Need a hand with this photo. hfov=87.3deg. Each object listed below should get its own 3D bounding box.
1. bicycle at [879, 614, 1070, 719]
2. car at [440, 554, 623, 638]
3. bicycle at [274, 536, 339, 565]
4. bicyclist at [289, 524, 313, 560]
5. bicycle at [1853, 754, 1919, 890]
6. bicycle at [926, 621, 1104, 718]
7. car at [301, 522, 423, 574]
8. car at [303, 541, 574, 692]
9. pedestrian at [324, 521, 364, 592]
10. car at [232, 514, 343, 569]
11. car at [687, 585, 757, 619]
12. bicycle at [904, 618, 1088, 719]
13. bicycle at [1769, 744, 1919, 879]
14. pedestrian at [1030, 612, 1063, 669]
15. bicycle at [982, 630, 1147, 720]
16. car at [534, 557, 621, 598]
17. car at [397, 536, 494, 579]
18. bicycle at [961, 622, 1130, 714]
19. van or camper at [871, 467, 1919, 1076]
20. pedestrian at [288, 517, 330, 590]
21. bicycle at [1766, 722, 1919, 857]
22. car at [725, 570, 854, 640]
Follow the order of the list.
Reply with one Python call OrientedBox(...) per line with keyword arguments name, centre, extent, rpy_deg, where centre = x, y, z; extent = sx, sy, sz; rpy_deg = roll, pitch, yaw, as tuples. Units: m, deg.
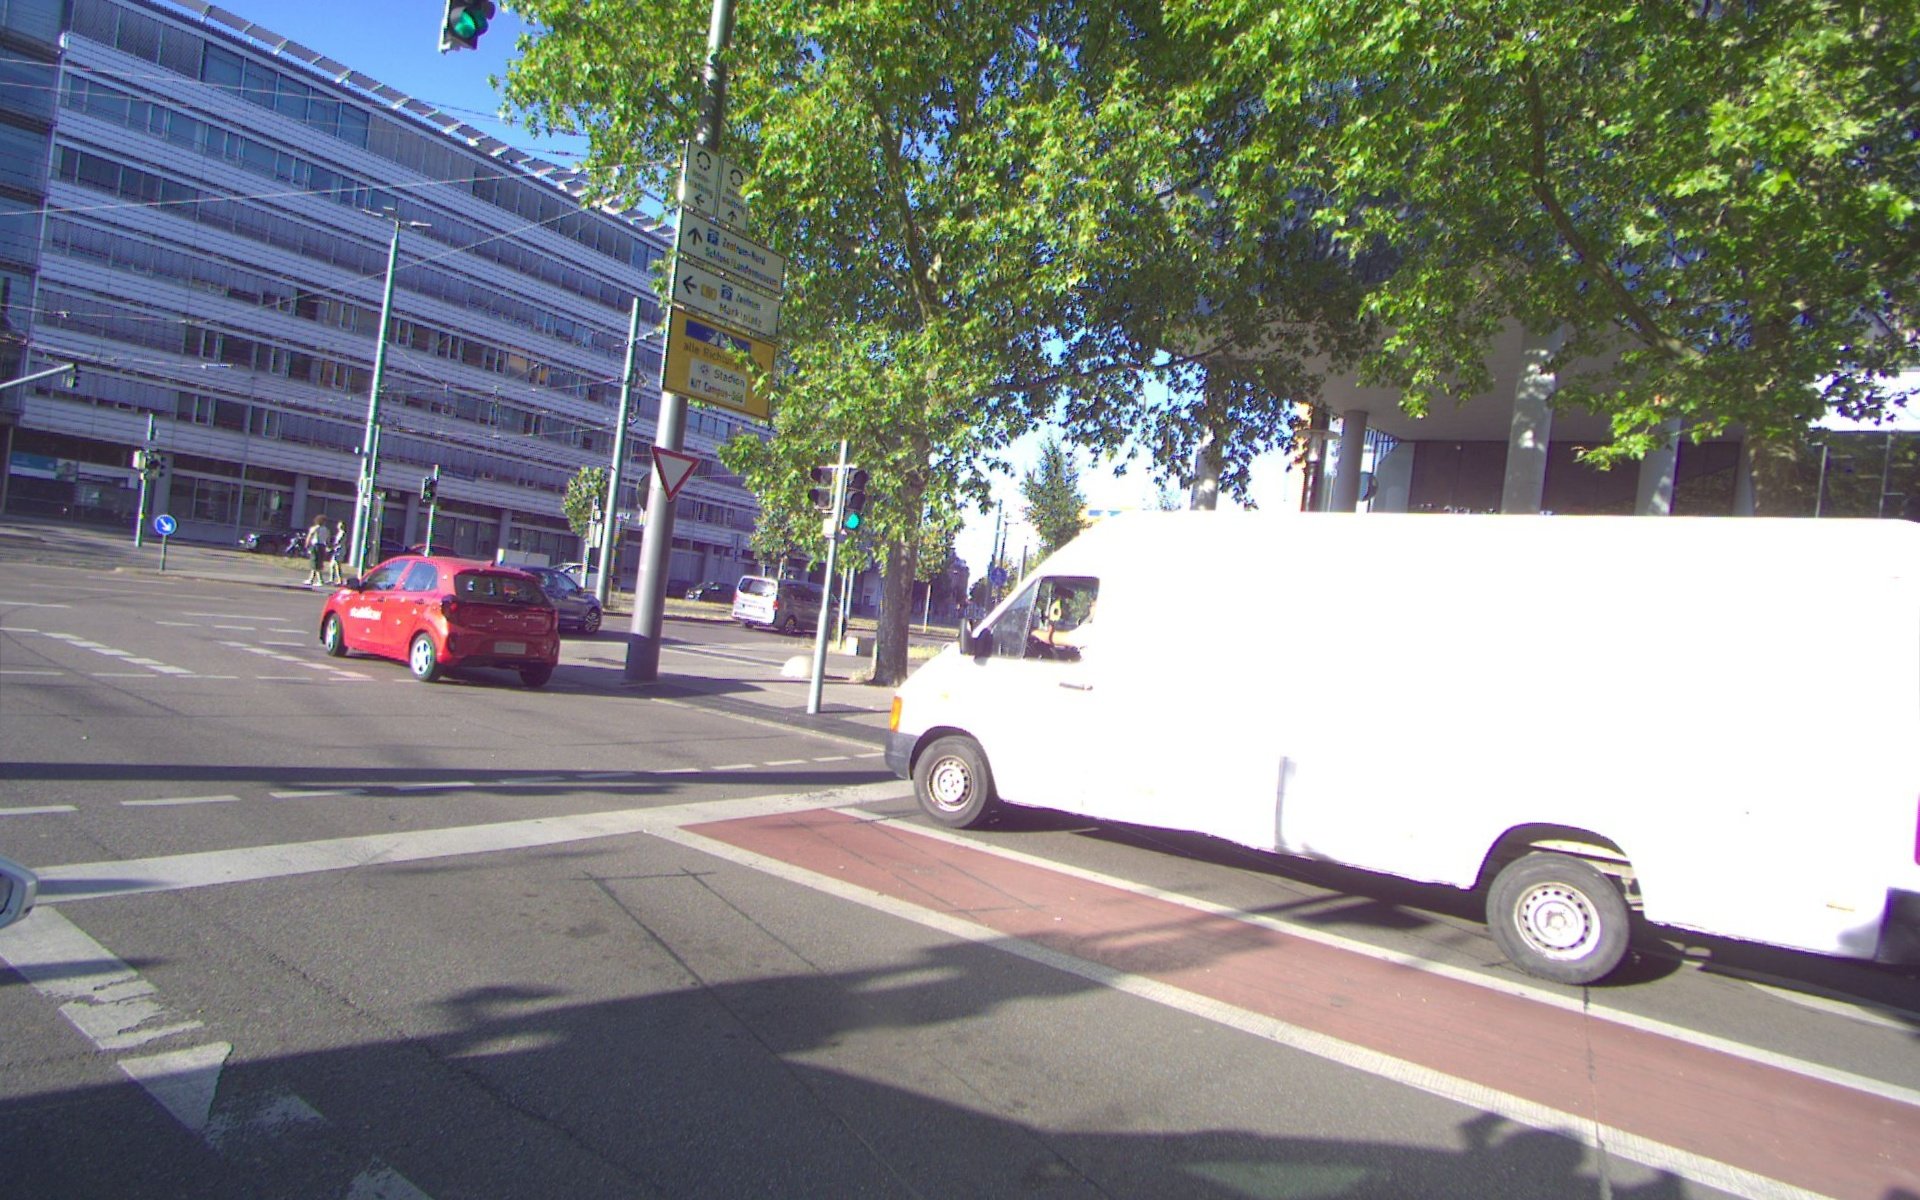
OrientedBox(name="bicycle", centre=(0.182, 1.017, 15.700), extent=(2.896, 1.252, 0.705), rpy_deg=(6, -1, 31))
OrientedBox(name="car", centre=(-9.504, 0.002, 22.714), extent=(1.720, 1.476, 4.216), rpy_deg=(7, -1, 8))
OrientedBox(name="bicycle", centre=(-30.131, -2.283, 46.412), extent=(0.627, 1.035, 2.410), rpy_deg=(7, 0, 36))
OrientedBox(name="bicyclist", centre=(-30.249, -2.661, 46.175), extent=(0.604, 1.521, 0.663), rpy_deg=(7, 1, 37))
OrientedBox(name="bicycle", centre=(10.163, 2.269, 9.440), extent=(2.514, 1.234, 0.756), rpy_deg=(5, -2, 37))
OrientedBox(name="bicycle", centre=(0.883, 1.155, 16.979), extent=(2.897, 1.252, 0.705), rpy_deg=(6, -1, 32))
OrientedBox(name="car", centre=(-27.170, -2.350, 45.828), extent=(1.854, 1.744, 4.256), rpy_deg=(7, 0, 34))
OrientedBox(name="car", centre=(-6.822, 0.184, 13.060), extent=(3.539, 1.476, 1.492), rpy_deg=(7, -1, 34))
OrientedBox(name="pedestrian", centre=(-16.452, -1.155, 26.888), extent=(0.734, 1.781, 0.680), rpy_deg=(6, 1, -31))
OrientedBox(name="car", centre=(-33.516, -2.895, 50.214), extent=(1.967, 2.037, 3.995), rpy_deg=(6, -2, 32))
OrientedBox(name="car", centre=(-15.519, 0.140, 65.649), extent=(1.852, 1.614, 4.121), rpy_deg=(6, -2, 35))
OrientedBox(name="bicycle", centre=(0.550, 1.085, 16.331), extent=(2.896, 1.243, 0.686), rpy_deg=(6, -1, 31))
OrientedBox(name="bicycle", centre=(10.873, 2.397, 10.433), extent=(3.759, 1.234, 0.756), rpy_deg=(5, -2, 38))
OrientedBox(name="pedestrian", centre=(2.588, 1.198, 30.018), extent=(0.569, 1.612, 0.595), rpy_deg=(7, 0, 32))
OrientedBox(name="bicycle", centre=(1.902, 1.374, 18.698), extent=(2.896, 1.250, 0.698), rpy_deg=(6, -4, 31))
OrientedBox(name="car", centre=(-20.877, -1.197, 55.027), extent=(1.852, 1.614, 3.991), rpy_deg=(6, -2, 35))
OrientedBox(name="car", centre=(-26.463, -2.181, 51.869), extent=(1.769, 1.569, 3.990), rpy_deg=(6, -2, 36))
OrientedBox(name="bicycle", centre=(1.504, 1.196, 18.085), extent=(2.896, 1.252, 0.705), rpy_deg=(6, -1, 31))
OrientedBox(name="van or camper", centre=(2.662, 0.672, 7.028), extent=(6.390, 2.647, 2.002), rpy_deg=(7, 0, 32))
OrientedBox(name="pedestrian", centre=(-16.844, -1.195, 26.046), extent=(0.734, 1.781, 0.674), rpy_deg=(6, 1, -32))
OrientedBox(name="bicycle", centre=(11.414, 2.369, 11.104), extent=(3.757, 1.235, 0.727), rpy_deg=(10, 1, 38))
OrientedBox(name="car", centre=(-5.890, 0.245, 35.414), extent=(1.971, 1.919, 4.883), rpy_deg=(7, -1, 23))
